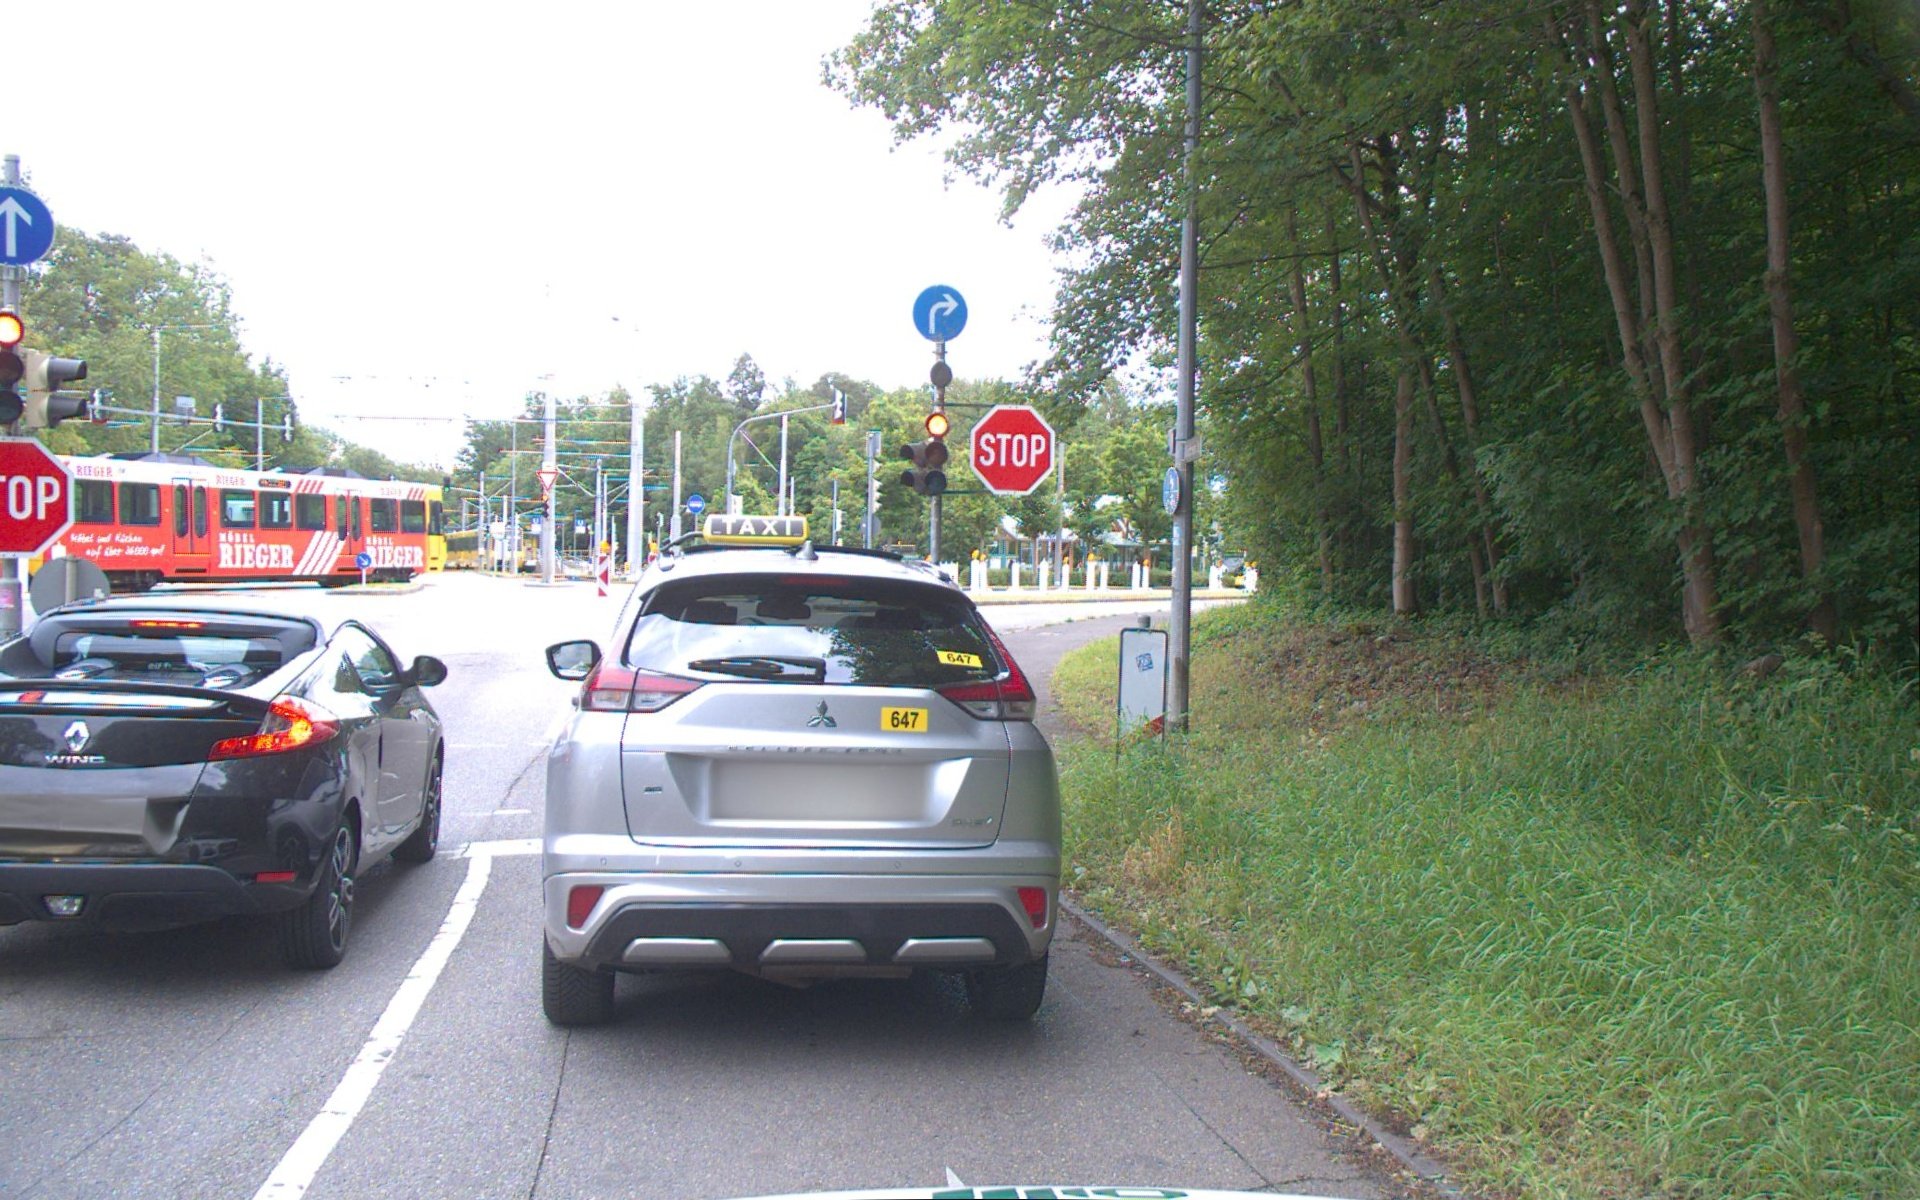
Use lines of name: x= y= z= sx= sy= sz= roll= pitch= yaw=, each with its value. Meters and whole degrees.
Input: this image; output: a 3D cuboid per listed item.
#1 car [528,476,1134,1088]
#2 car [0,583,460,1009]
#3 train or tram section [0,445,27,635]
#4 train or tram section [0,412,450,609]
car: x=-0.650 y=0.524 z=6.804 sx=1.741 sy=1.778 sz=3.773 roll=2 pitch=1 yaw=-9
car: x=-3.299 y=0.639 z=7.285 sx=1.742 sy=1.385 sz=3.467 roll=0 pitch=1 yaw=-11
train or tram section: x=-27.325 y=-1.531 z=31.609 sx=2.896 sy=4.496 sz=18.725 roll=1 pitch=0 yaw=22
train or tram section: x=-21.517 y=-2.145 z=49.437 sx=2.884 sy=4.732 sz=18.560 roll=1 pitch=0 yaw=13
